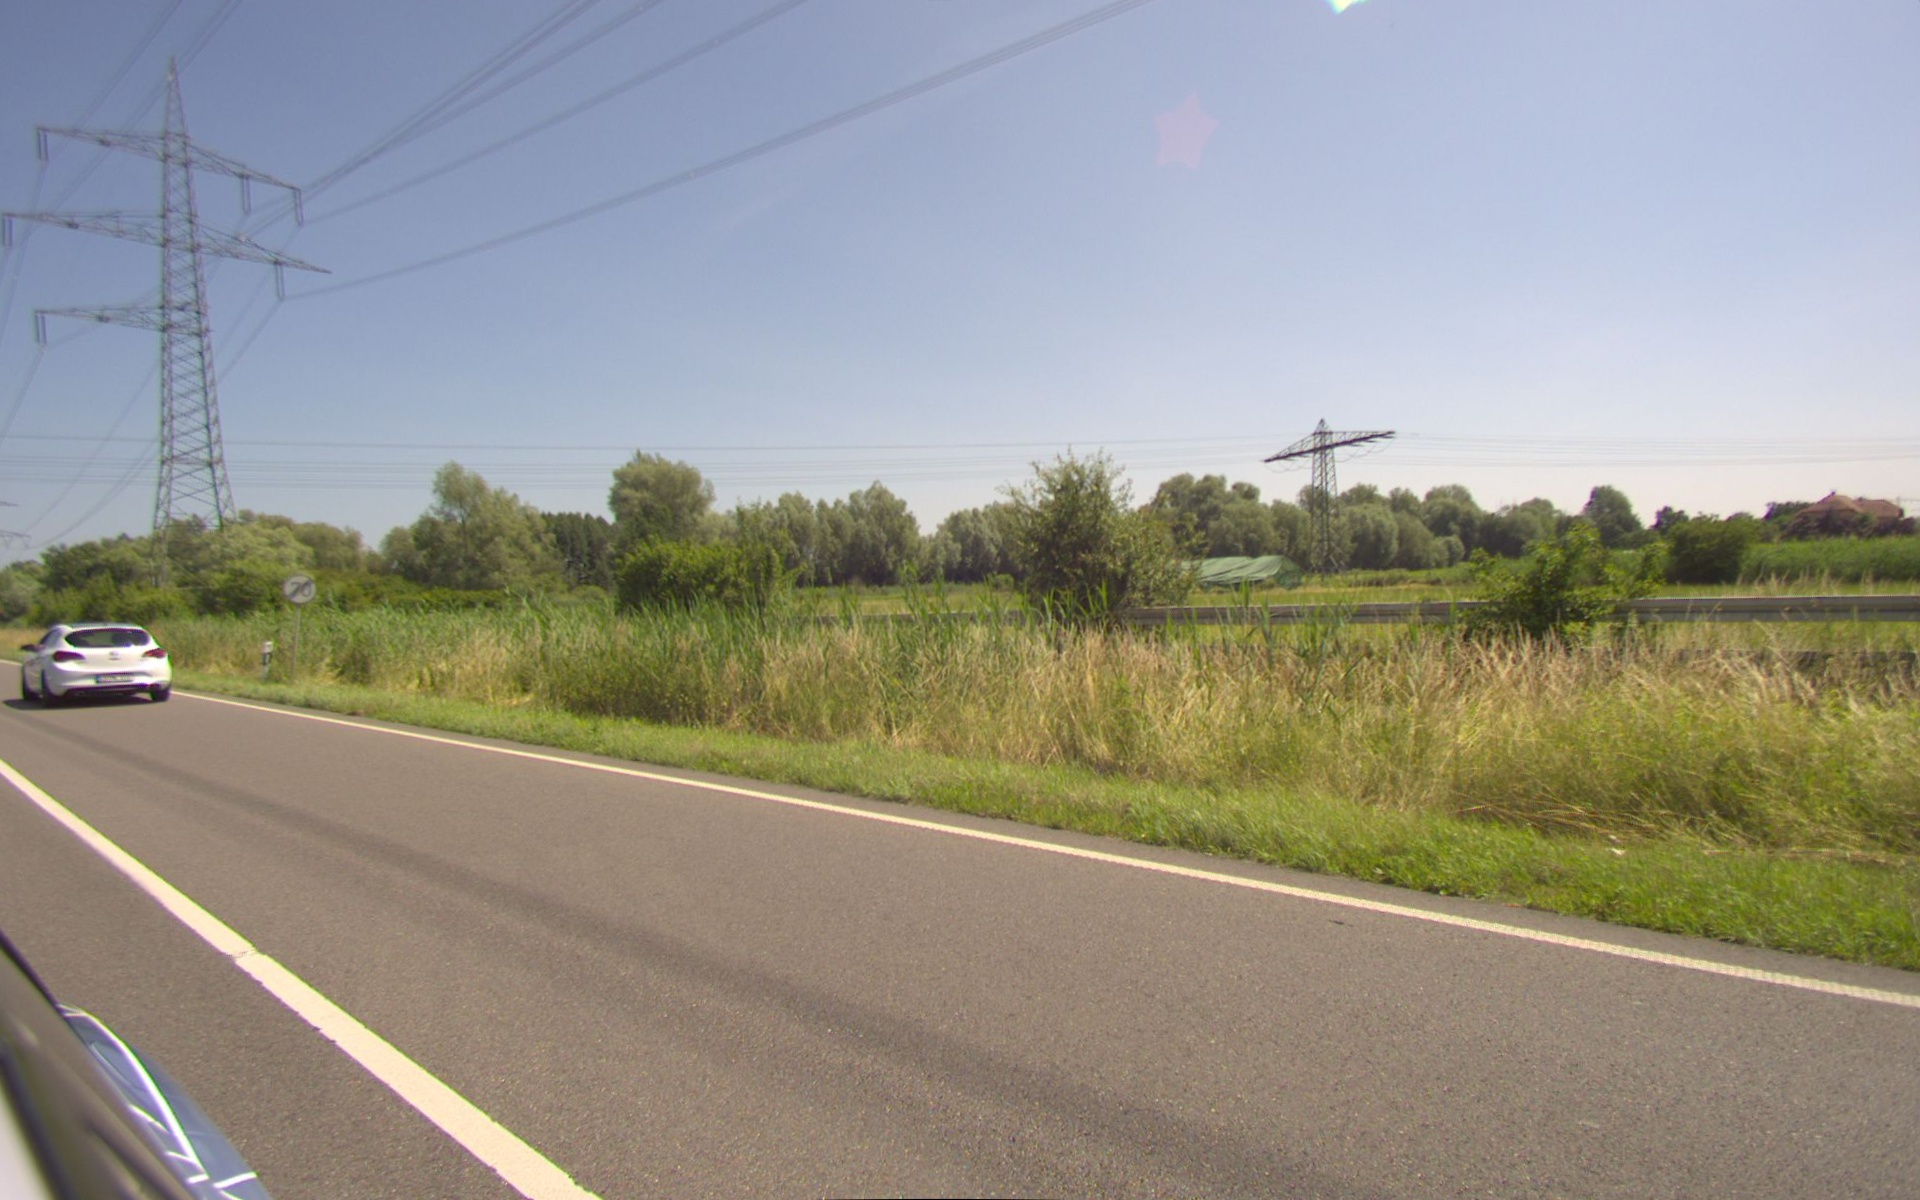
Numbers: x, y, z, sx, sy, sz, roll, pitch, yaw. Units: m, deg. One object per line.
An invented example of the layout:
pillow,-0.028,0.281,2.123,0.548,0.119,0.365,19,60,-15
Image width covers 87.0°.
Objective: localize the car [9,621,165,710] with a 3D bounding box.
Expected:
car,-16.539,1.165,19.107,4.247,1.452,1.707,-2,-1,42
